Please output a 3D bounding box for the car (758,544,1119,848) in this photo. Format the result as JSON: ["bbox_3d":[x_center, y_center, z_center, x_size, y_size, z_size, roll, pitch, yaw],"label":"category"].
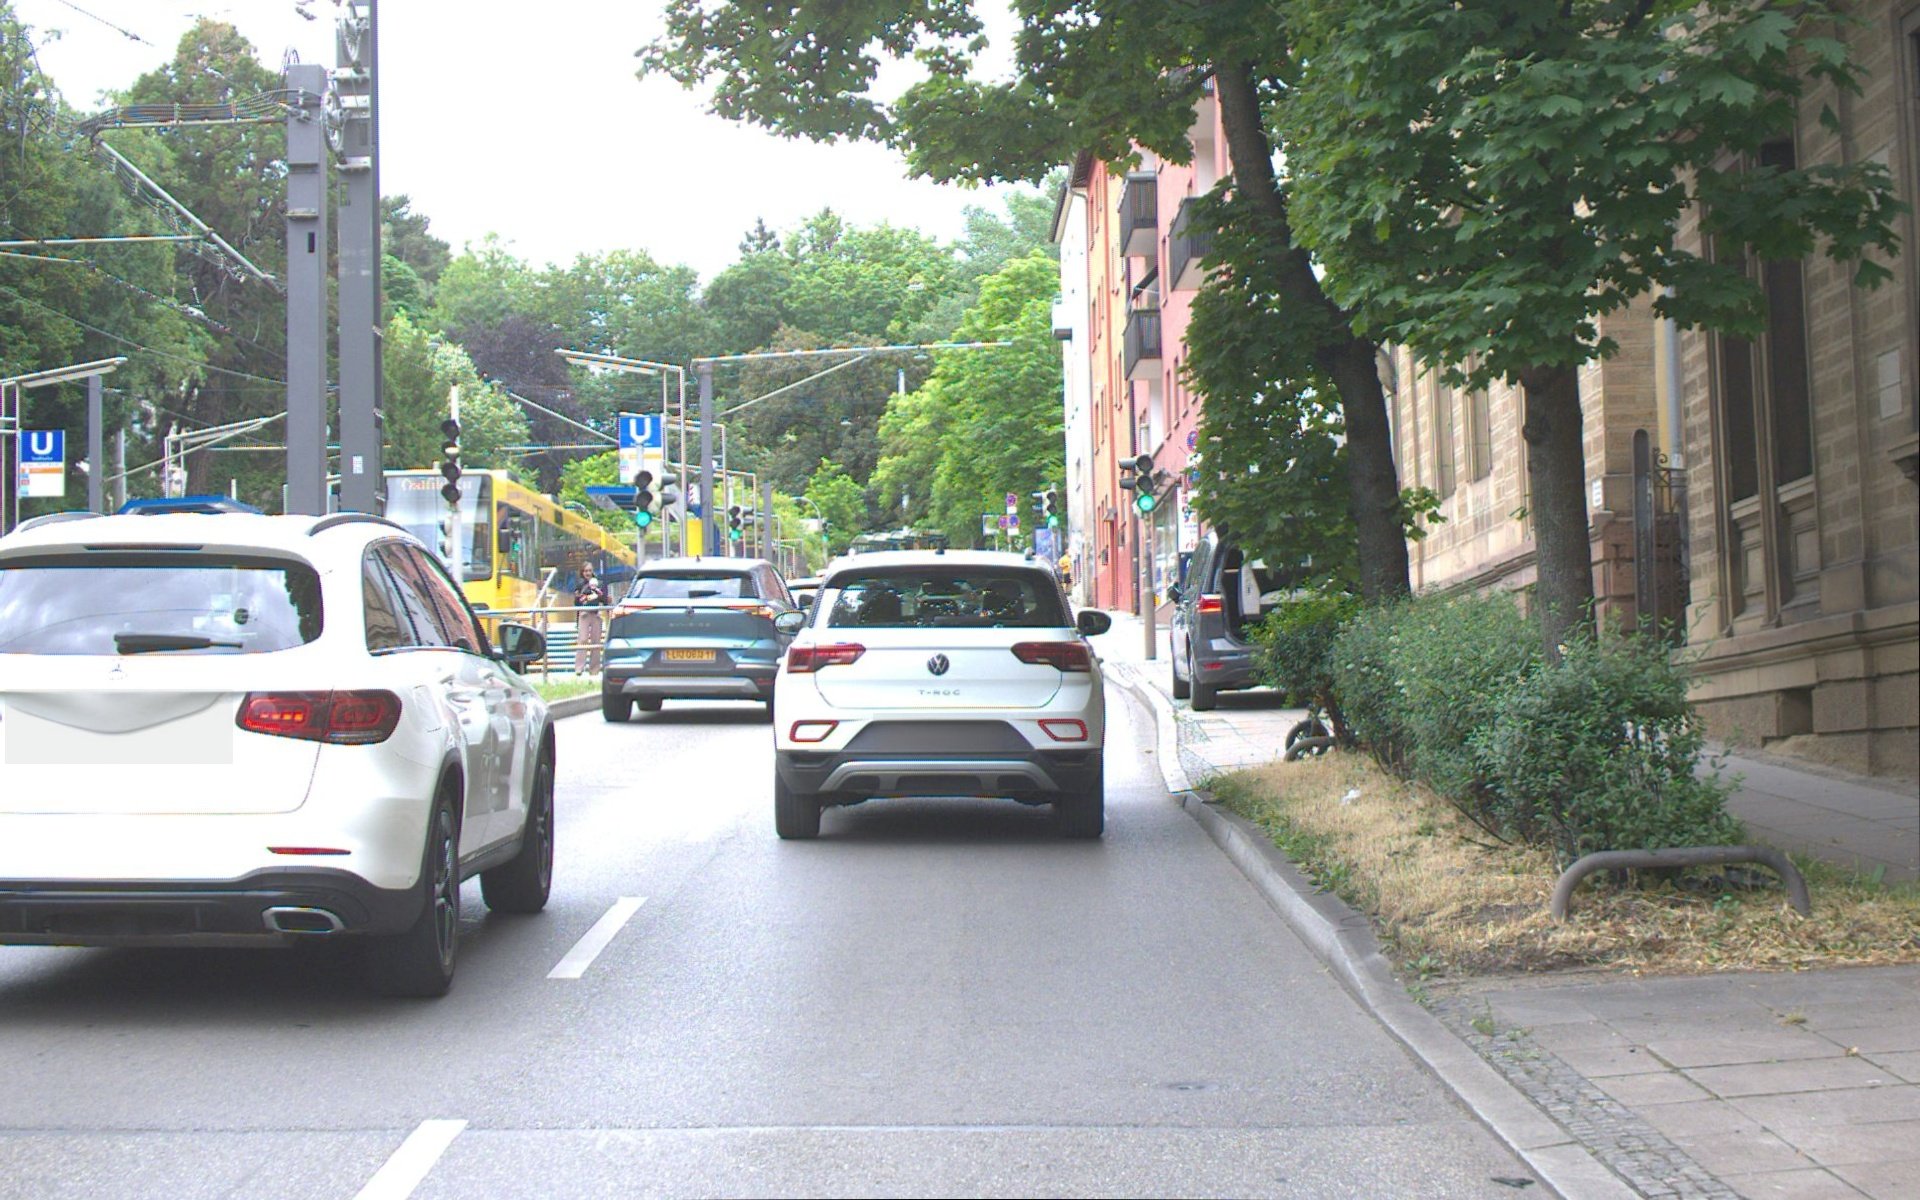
[{"bbox_3d":[-0.165,0.467,19.688,1.835,1.541,4.194,1,1,-1],"label":"car"}]

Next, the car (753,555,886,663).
[{"bbox_3d":[-2.069,0.099,51.724,1.835,1.541,4.193,1,1,0],"label":"car"}]

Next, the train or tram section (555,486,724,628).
[{"bbox_3d":[-8.124,-1.109,88.905,2.996,3.337,13.439,-1,1,0],"label":"train or tram section"}]

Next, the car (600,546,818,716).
[{"bbox_3d":[-2.394,0.258,33.668,1.835,1.541,4.193,1,1,0],"label":"car"}]

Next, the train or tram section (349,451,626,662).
[{"bbox_3d":[-8.231,-0.780,61.861,2.996,3.337,13.439,-1,1,0],"label":"train or tram section"}]

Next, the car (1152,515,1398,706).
[{"bbox_3d":[2.886,0.071,32.301,1.835,1.596,4.193,-3,1,0],"label":"car"}]

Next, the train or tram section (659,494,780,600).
[{"bbox_3d":[-7.985,-1.762,115.969,2.996,3.337,13.439,-1,1,0],"label":"train or tram section"}]

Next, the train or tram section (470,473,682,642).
[{"bbox_3d":[-8.204,-0.929,75.387,2.996,3.337,13.530,-1,1,0],"label":"train or tram section"}]

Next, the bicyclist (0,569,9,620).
[{"bbox_3d":[-22.647,-0.132,80.603,0.518,1.187,0.656,-1,1,0],"label":"bicyclist"}]

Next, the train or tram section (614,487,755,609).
[{"bbox_3d":[-8.069,-1.522,102.411,2.996,3.337,13.439,-1,1,0],"label":"train or tram section"}]

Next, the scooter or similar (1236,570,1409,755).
[{"bbox_3d":[2.283,0.392,21.674,1.037,1.115,0.331,-2,1,6],"label":"scooter or similar"}]

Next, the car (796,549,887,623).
[{"bbox_3d":[-2.538,-0.326,74.539,1.835,1.541,4.193,1,1,0],"label":"car"}]

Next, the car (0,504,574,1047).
[{"bbox_3d":[-2.632,0.511,12.922,1.835,1.661,4.671,1,1,0],"label":"car"}]
